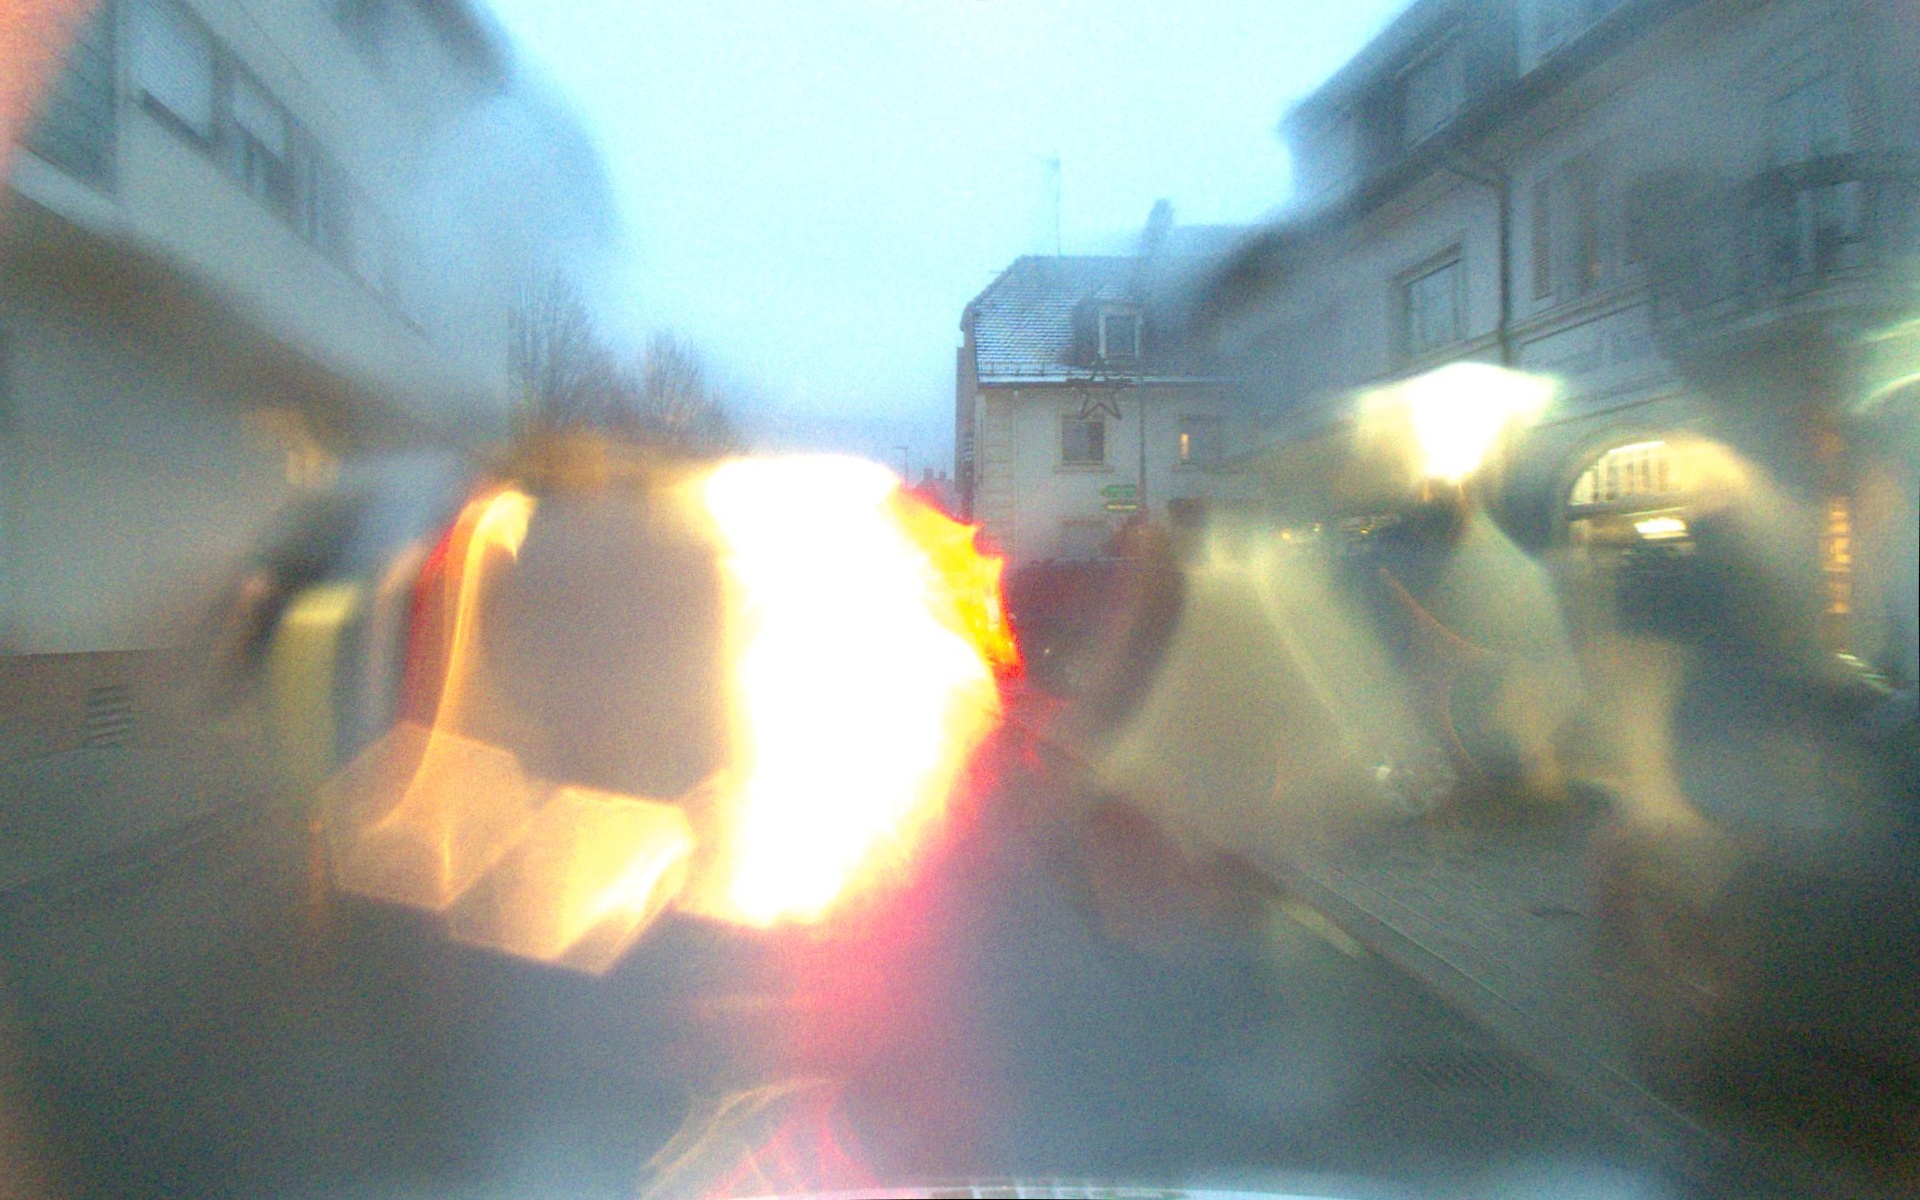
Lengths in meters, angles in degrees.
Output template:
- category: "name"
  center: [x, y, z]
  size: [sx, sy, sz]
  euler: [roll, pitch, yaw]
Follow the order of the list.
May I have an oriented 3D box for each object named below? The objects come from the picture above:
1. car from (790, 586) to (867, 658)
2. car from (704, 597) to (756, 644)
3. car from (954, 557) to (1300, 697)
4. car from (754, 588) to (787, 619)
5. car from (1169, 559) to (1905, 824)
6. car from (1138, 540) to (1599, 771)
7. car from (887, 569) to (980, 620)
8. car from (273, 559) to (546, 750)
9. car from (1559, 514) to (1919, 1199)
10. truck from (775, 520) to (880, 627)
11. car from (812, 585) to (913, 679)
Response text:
- category: "car"
  center: [-2.944, 0.455, 36.760]
  size: [1.606, 1.507, 3.267]
  euler: [1, 1, -5]
- category: "car"
  center: [-8.018, 0.706, 57.908]
  size: [1.606, 1.562, 3.403]
  euler: [0, 0, -5]
- category: "car"
  center: [2.309, 0.339, 23.459]
  size: [4.520, 1.807, 1.941]
  euler: [-1, 1, -10]
- category: "car"
  center: [-10.305, 0.157, 90.072]
  size: [1.776, 1.624, 4.394]
  euler: [0, 1, -6]
- category: "car"
  center: [3.823, 0.546, 11.374]
  size: [4.382, 1.499, 1.895]
  euler: [-2, 1, -7]
- category: "car"
  center: [3.459, 0.419, 14.291]
  size: [3.442, 1.710, 1.711]
  euler: [-2, 1, -11]
- category: "car"
  center: [-1.156, -0.250, 73.121]
  size: [4.012, 2.200, 1.914]
  euler: [0, 0, 1]
- category: "car"
  center: [-5.356, 0.469, 16.591]
  size: [1.759, 1.671, 3.808]
  euler: [1, 0, -6]
- category: "car"
  center: [3.063, 0.577, 3.248]
  size: [1.845, 1.574, 4.668]
  euler: [-2, 1, -3]
- category: "truck"
  center: [-4.435, -0.828, 54.004]
  size: [2.959, 3.183, 7.986]
  euler: [0, 0, -8]
- category: "car"
  center: [-1.702, 0.509, 28.401]
  size: [1.606, 1.507, 3.376]
  euler: [1, 0, -5]
